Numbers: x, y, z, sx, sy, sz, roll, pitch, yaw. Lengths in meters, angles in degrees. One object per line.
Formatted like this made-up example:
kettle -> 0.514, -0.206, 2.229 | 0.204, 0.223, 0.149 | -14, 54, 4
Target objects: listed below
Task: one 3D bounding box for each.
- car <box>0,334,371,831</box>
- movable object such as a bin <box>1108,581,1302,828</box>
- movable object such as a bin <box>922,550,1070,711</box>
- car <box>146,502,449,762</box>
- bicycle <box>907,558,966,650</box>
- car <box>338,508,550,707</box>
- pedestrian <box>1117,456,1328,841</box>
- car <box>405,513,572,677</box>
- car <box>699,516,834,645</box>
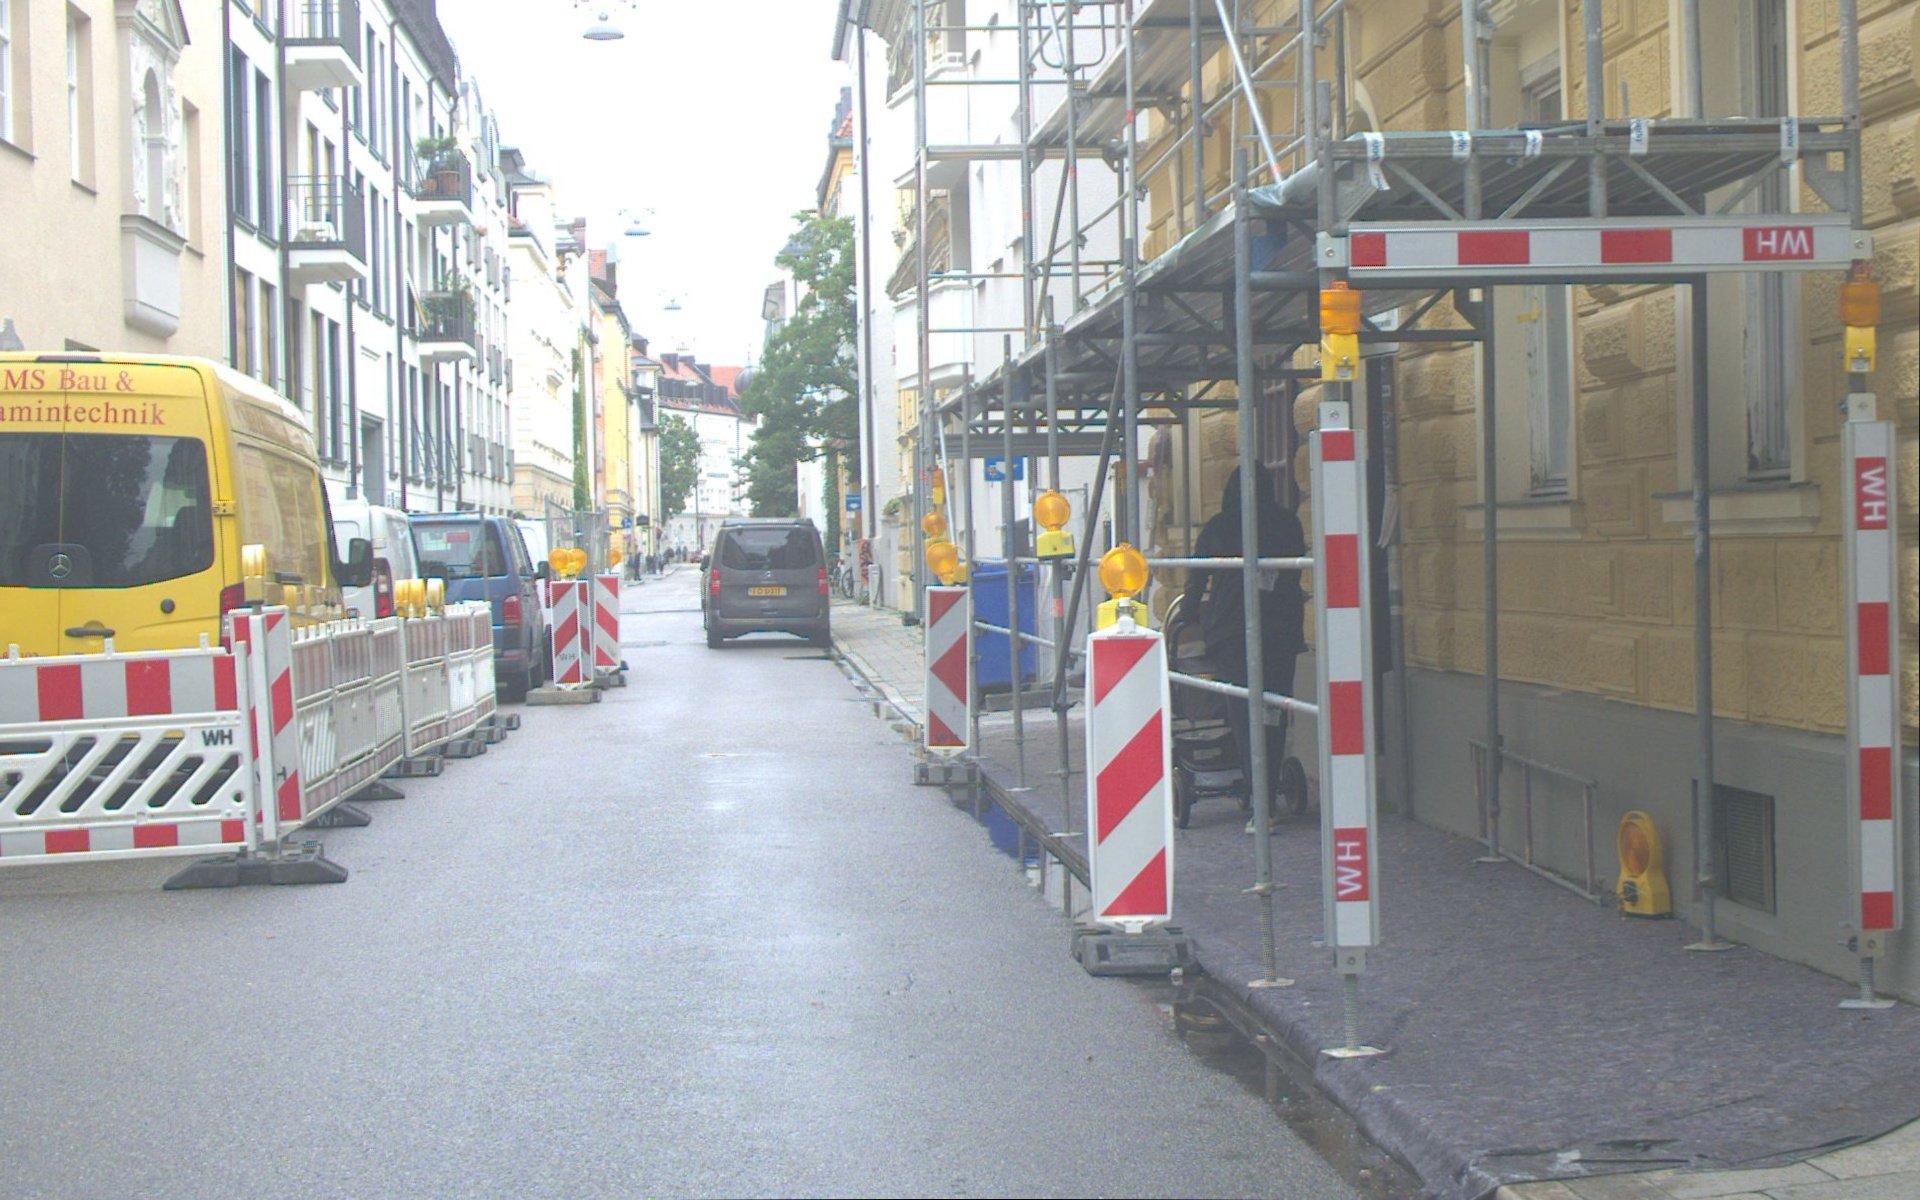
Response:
car -> -5.025, -0.136, 21.382 | 1.993, 2.570, 6.738 | -2, 1, -4
movable object such as a bin -> 1.226, 0.511, 17.399 | 0.729, 1.137, 0.988 | -6, 1, -5
movable object such as a bin -> 0.339, 0.264, 31.385 | 1.087, 1.341, 1.317 | -4, 1, 9
car -> -5.424, 0.213, 28.724 | 1.917, 1.891, 4.792 | -3, 1, -5
bicycle -> -0.331, 0.040, 46.889 | 0.638, 1.149, 1.915 | -4, 2, -3
car -> -5.464, 0.036, 36.988 | 1.727, 1.891, 5.510 | -3, 1, -4
pedestrian -> 1.252, 0.220, 16.597 | 0.729, 1.746, 0.988 | -5, 1, -4
car -> -5.869, -0.084, 43.053 | 1.904, 1.891, 5.090 | -1, 1, -7
car -> -3.055, -0.335, 53.574 | 1.993, 1.925, 4.661 | 0, 1, -5
